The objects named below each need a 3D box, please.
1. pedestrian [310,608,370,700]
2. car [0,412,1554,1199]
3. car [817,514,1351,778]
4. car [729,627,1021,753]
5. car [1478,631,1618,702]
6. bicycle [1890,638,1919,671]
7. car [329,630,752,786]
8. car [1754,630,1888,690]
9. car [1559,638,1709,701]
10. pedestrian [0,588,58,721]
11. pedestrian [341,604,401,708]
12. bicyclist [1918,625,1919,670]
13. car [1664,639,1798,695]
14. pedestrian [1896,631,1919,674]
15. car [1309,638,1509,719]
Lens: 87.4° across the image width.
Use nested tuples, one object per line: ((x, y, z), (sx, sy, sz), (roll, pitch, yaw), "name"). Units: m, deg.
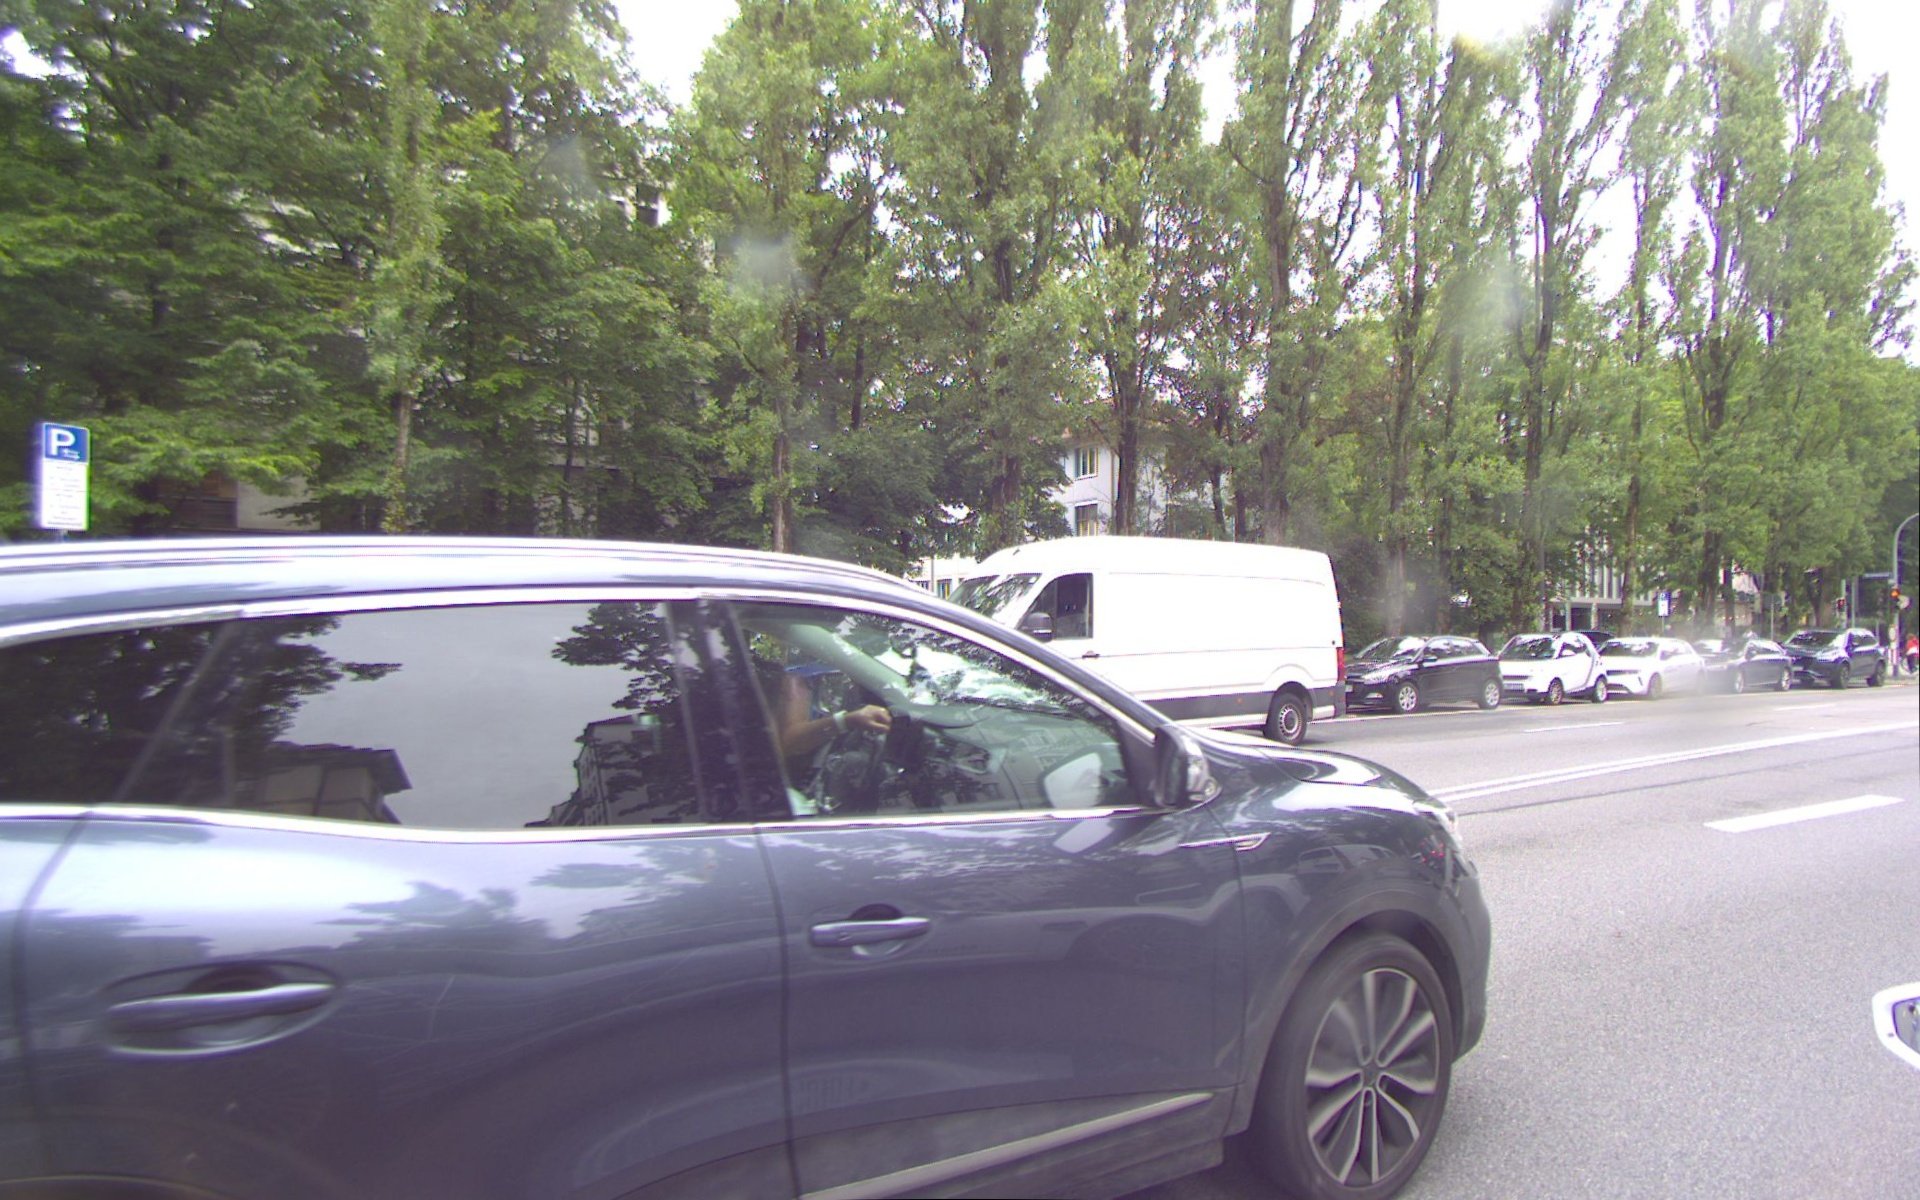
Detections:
((-11.401, 0.977, 18.492), (0.871, 1.620, 0.733), (1, 0, -30), "pedestrian")
((-0.552, 0.612, 2.552), (4.138, 1.607, 1.826), (1, 0, -31), "car")
((1.752, 0.550, 12.353), (6.686, 2.515, 2.215), (1, -3, -33), "car")
((-1.104, 1.135, 13.480), (3.547, 1.470, 1.700), (1, -3, -33), "car")
((13.013, 1.455, 22.214), (2.932, 1.466, 1.420), (1, -4, -32), "car")
((37.453, 2.109, 38.542), (0.800, 1.254, 2.532), (1, -2, -20), "bicycle")
((-4.662, 1.114, 11.387), (4.187, 1.471, 1.761), (1, -4, -33), "car")
((26.028, 1.779, 30.336), (4.646, 1.675, 1.838), (1, -4, -34), "car")
((16.383, 1.648, 24.362), (4.124, 1.407, 1.613), (1, -4, -35), "car")
((-12.363, 0.705, 13.078), (0.742, 1.686, 0.734), (1, -1, -30), "pedestrian")
((-10.518, 0.982, 17.969), (0.879, 1.795, 0.733), (1, 0, -30), "pedestrian")
((37.493, 1.838, 38.466), (0.812, 1.745, 0.904), (1, -1, -21), "bicyclist")
((20.988, 1.782, 27.305), (4.123, 1.407, 1.614), (1, -4, -34), "car")
((34.070, 1.885, 36.077), (0.530, 1.505, 0.515), (1, -1, -30), "pedestrian")
((8.785, 1.485, 19.591), (3.805, 1.444, 1.594), (1, -4, -30), "car")
